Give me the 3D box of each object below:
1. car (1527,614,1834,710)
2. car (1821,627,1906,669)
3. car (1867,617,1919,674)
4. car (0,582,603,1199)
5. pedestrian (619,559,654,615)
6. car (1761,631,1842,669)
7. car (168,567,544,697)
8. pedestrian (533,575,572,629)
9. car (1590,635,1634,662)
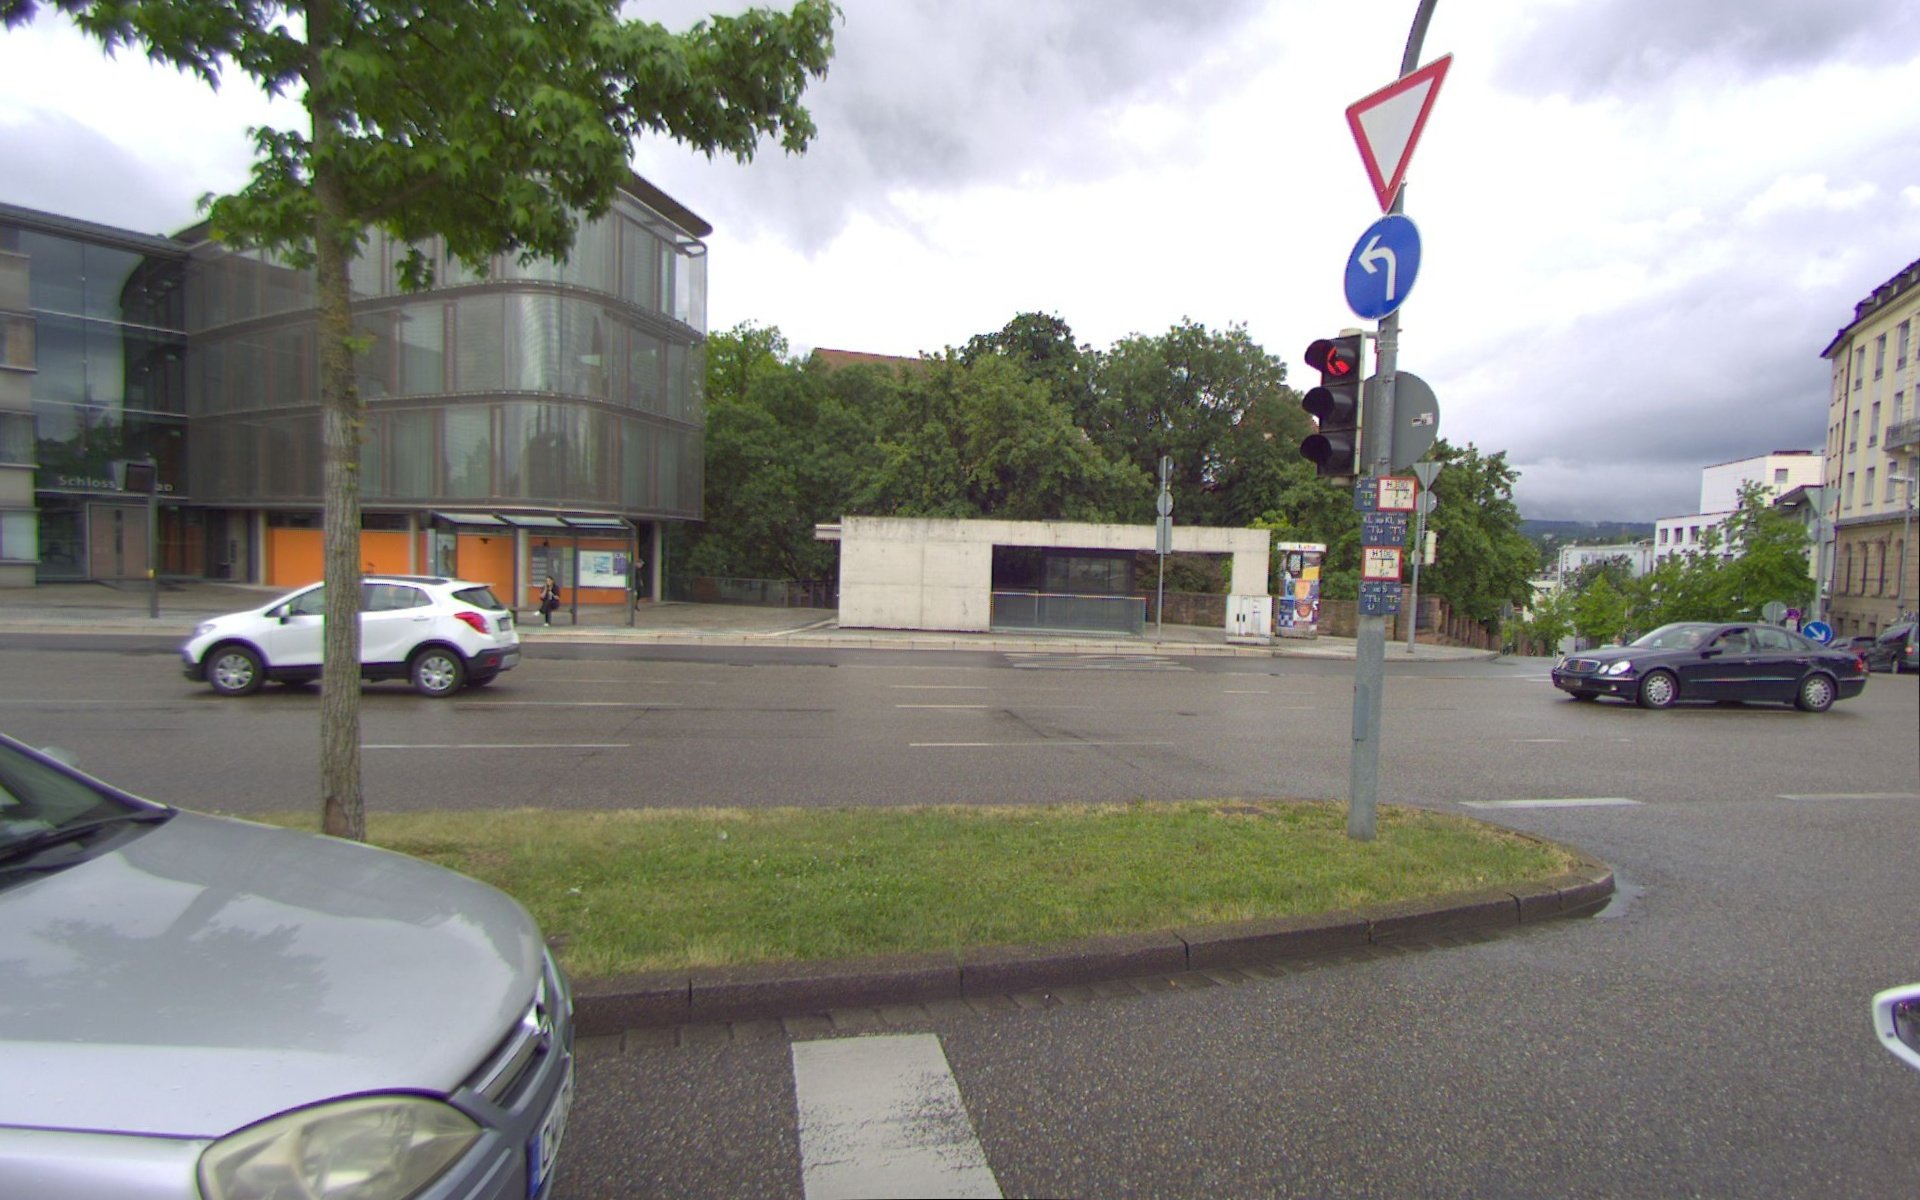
[{"bbox_3d":[12.211,1.020,17.184,3.924,1.441,1.960,2,0,-5],"label":"car"},{"bbox_3d":[35.861,1.876,39.959,1.605,1.417,3.993,2,1,29],"label":"car"},{"bbox_3d":[32.695,1.523,34.338,1.605,1.783,3.993,2,1,29],"label":"car"},{"bbox_3d":[-2.623,0.687,1.574,3.655,1.485,1.696,2,0,-13],"label":"car"},{"bbox_3d":[-10.603,-0.441,32.922,0.809,1.780,0.786,1,3,12],"label":"pedestrian"},{"bbox_3d":[37.644,2.188,45.028,1.736,1.498,3.997,2,0,24],"label":"car"},{"bbox_3d":[-8.419,0.451,14.402,4.132,1.639,1.959,2,0,-10],"label":"car"},{"bbox_3d":[-10.263,0.045,25.302,0.706,1.316,0.668,2,0,-6],"label":"pedestrian"},{"bbox_3d":[38.355,2.824,59.123,1.604,1.417,3.997,2,0,25],"label":"car"}]
